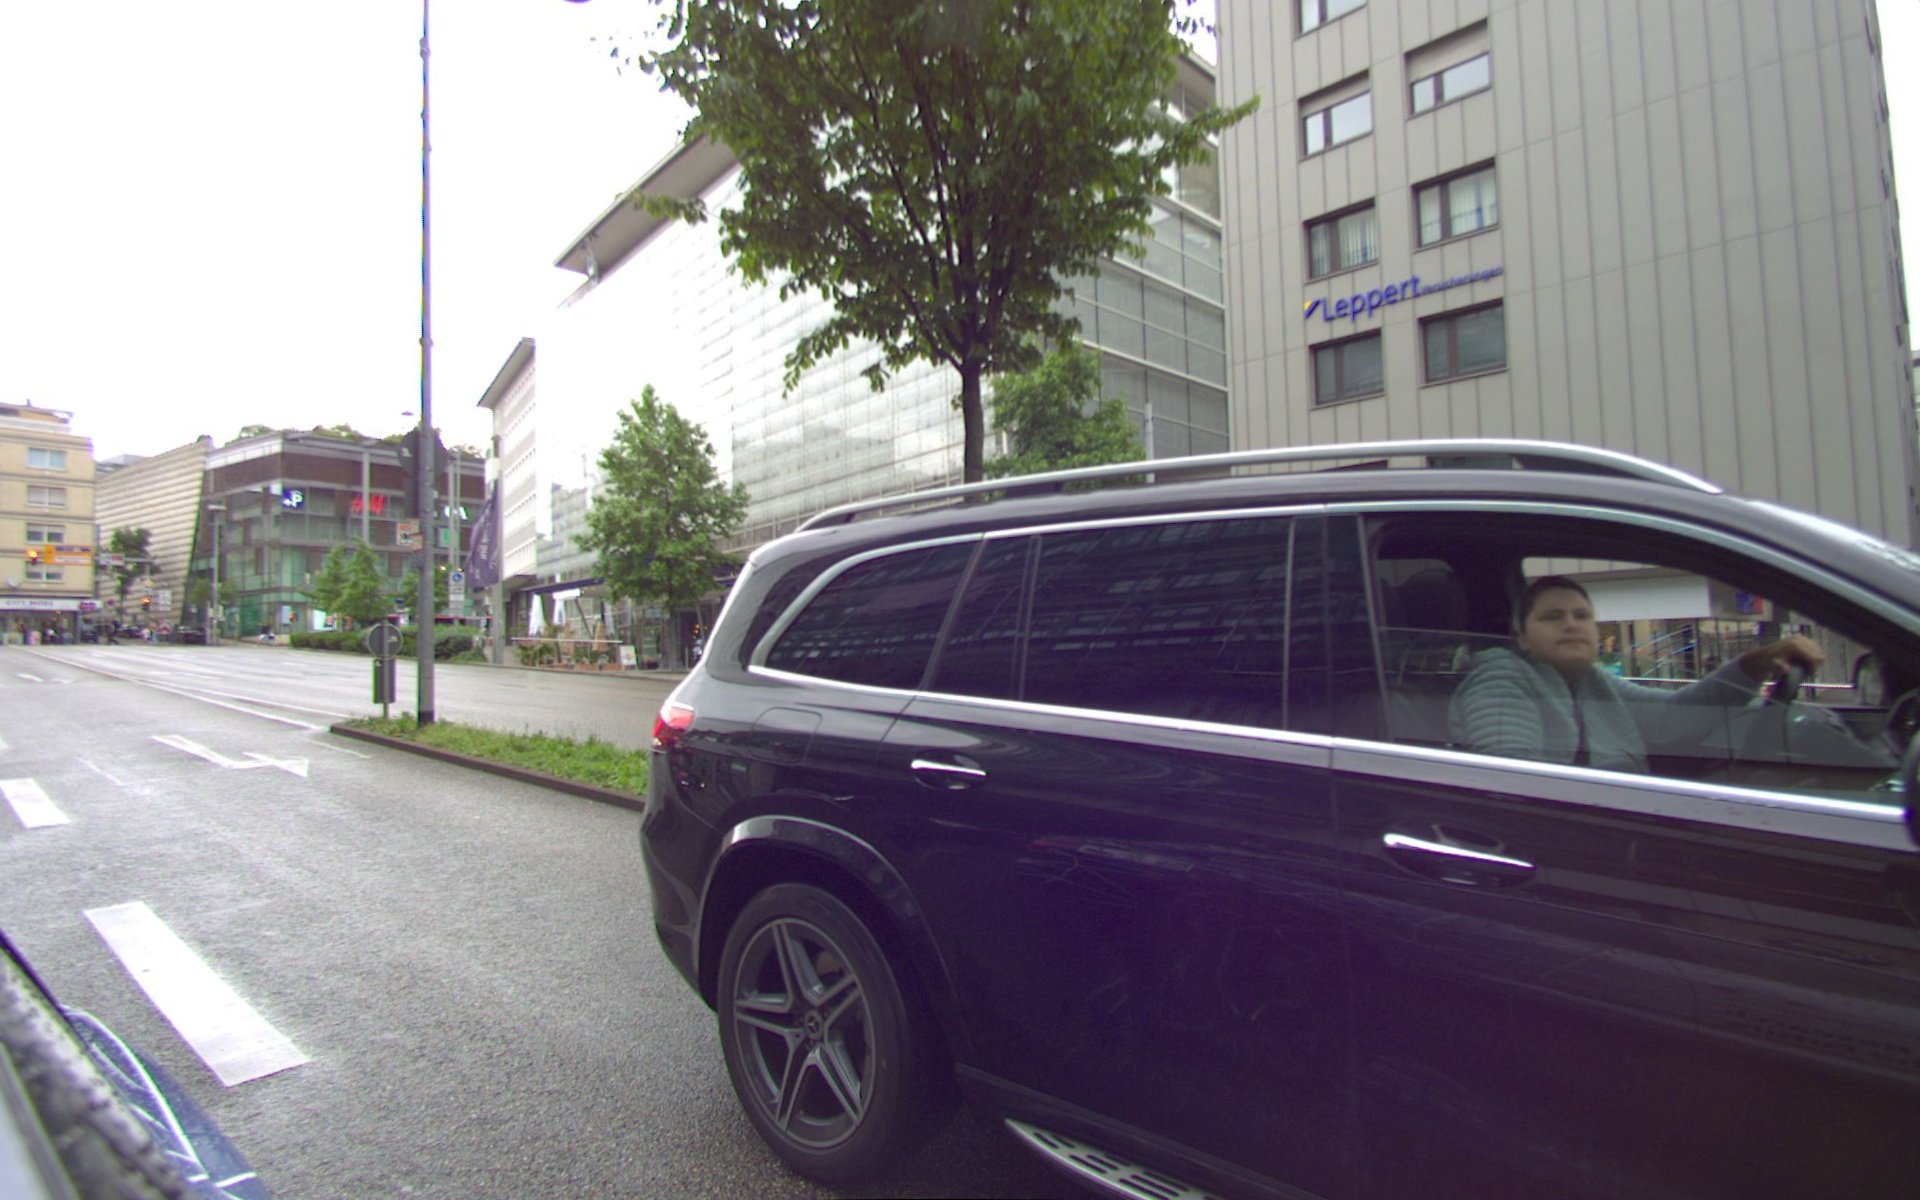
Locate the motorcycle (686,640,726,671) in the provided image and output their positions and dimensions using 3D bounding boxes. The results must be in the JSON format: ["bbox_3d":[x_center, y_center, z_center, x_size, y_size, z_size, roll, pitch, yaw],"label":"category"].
[{"bbox_3d":[-11.413,2.482,45.542,0.620,1.336,1.685,-1,-3,41],"label":"motorcycle"}]

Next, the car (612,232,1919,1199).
[{"bbox_3d":[1.423,0.511,2.168,5.072,1.884,1.891,0,0,42],"label":"car"}]

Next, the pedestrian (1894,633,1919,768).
[{"bbox_3d":[12.623,1.284,12.917,0.963,1.693,0.700,0,0,38],"label":"pedestrian"}]

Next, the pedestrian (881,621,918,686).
[{"bbox_3d":[-1.587,1.382,26.530,0.626,1.649,0.791,0,0,-41],"label":"pedestrian"}]
